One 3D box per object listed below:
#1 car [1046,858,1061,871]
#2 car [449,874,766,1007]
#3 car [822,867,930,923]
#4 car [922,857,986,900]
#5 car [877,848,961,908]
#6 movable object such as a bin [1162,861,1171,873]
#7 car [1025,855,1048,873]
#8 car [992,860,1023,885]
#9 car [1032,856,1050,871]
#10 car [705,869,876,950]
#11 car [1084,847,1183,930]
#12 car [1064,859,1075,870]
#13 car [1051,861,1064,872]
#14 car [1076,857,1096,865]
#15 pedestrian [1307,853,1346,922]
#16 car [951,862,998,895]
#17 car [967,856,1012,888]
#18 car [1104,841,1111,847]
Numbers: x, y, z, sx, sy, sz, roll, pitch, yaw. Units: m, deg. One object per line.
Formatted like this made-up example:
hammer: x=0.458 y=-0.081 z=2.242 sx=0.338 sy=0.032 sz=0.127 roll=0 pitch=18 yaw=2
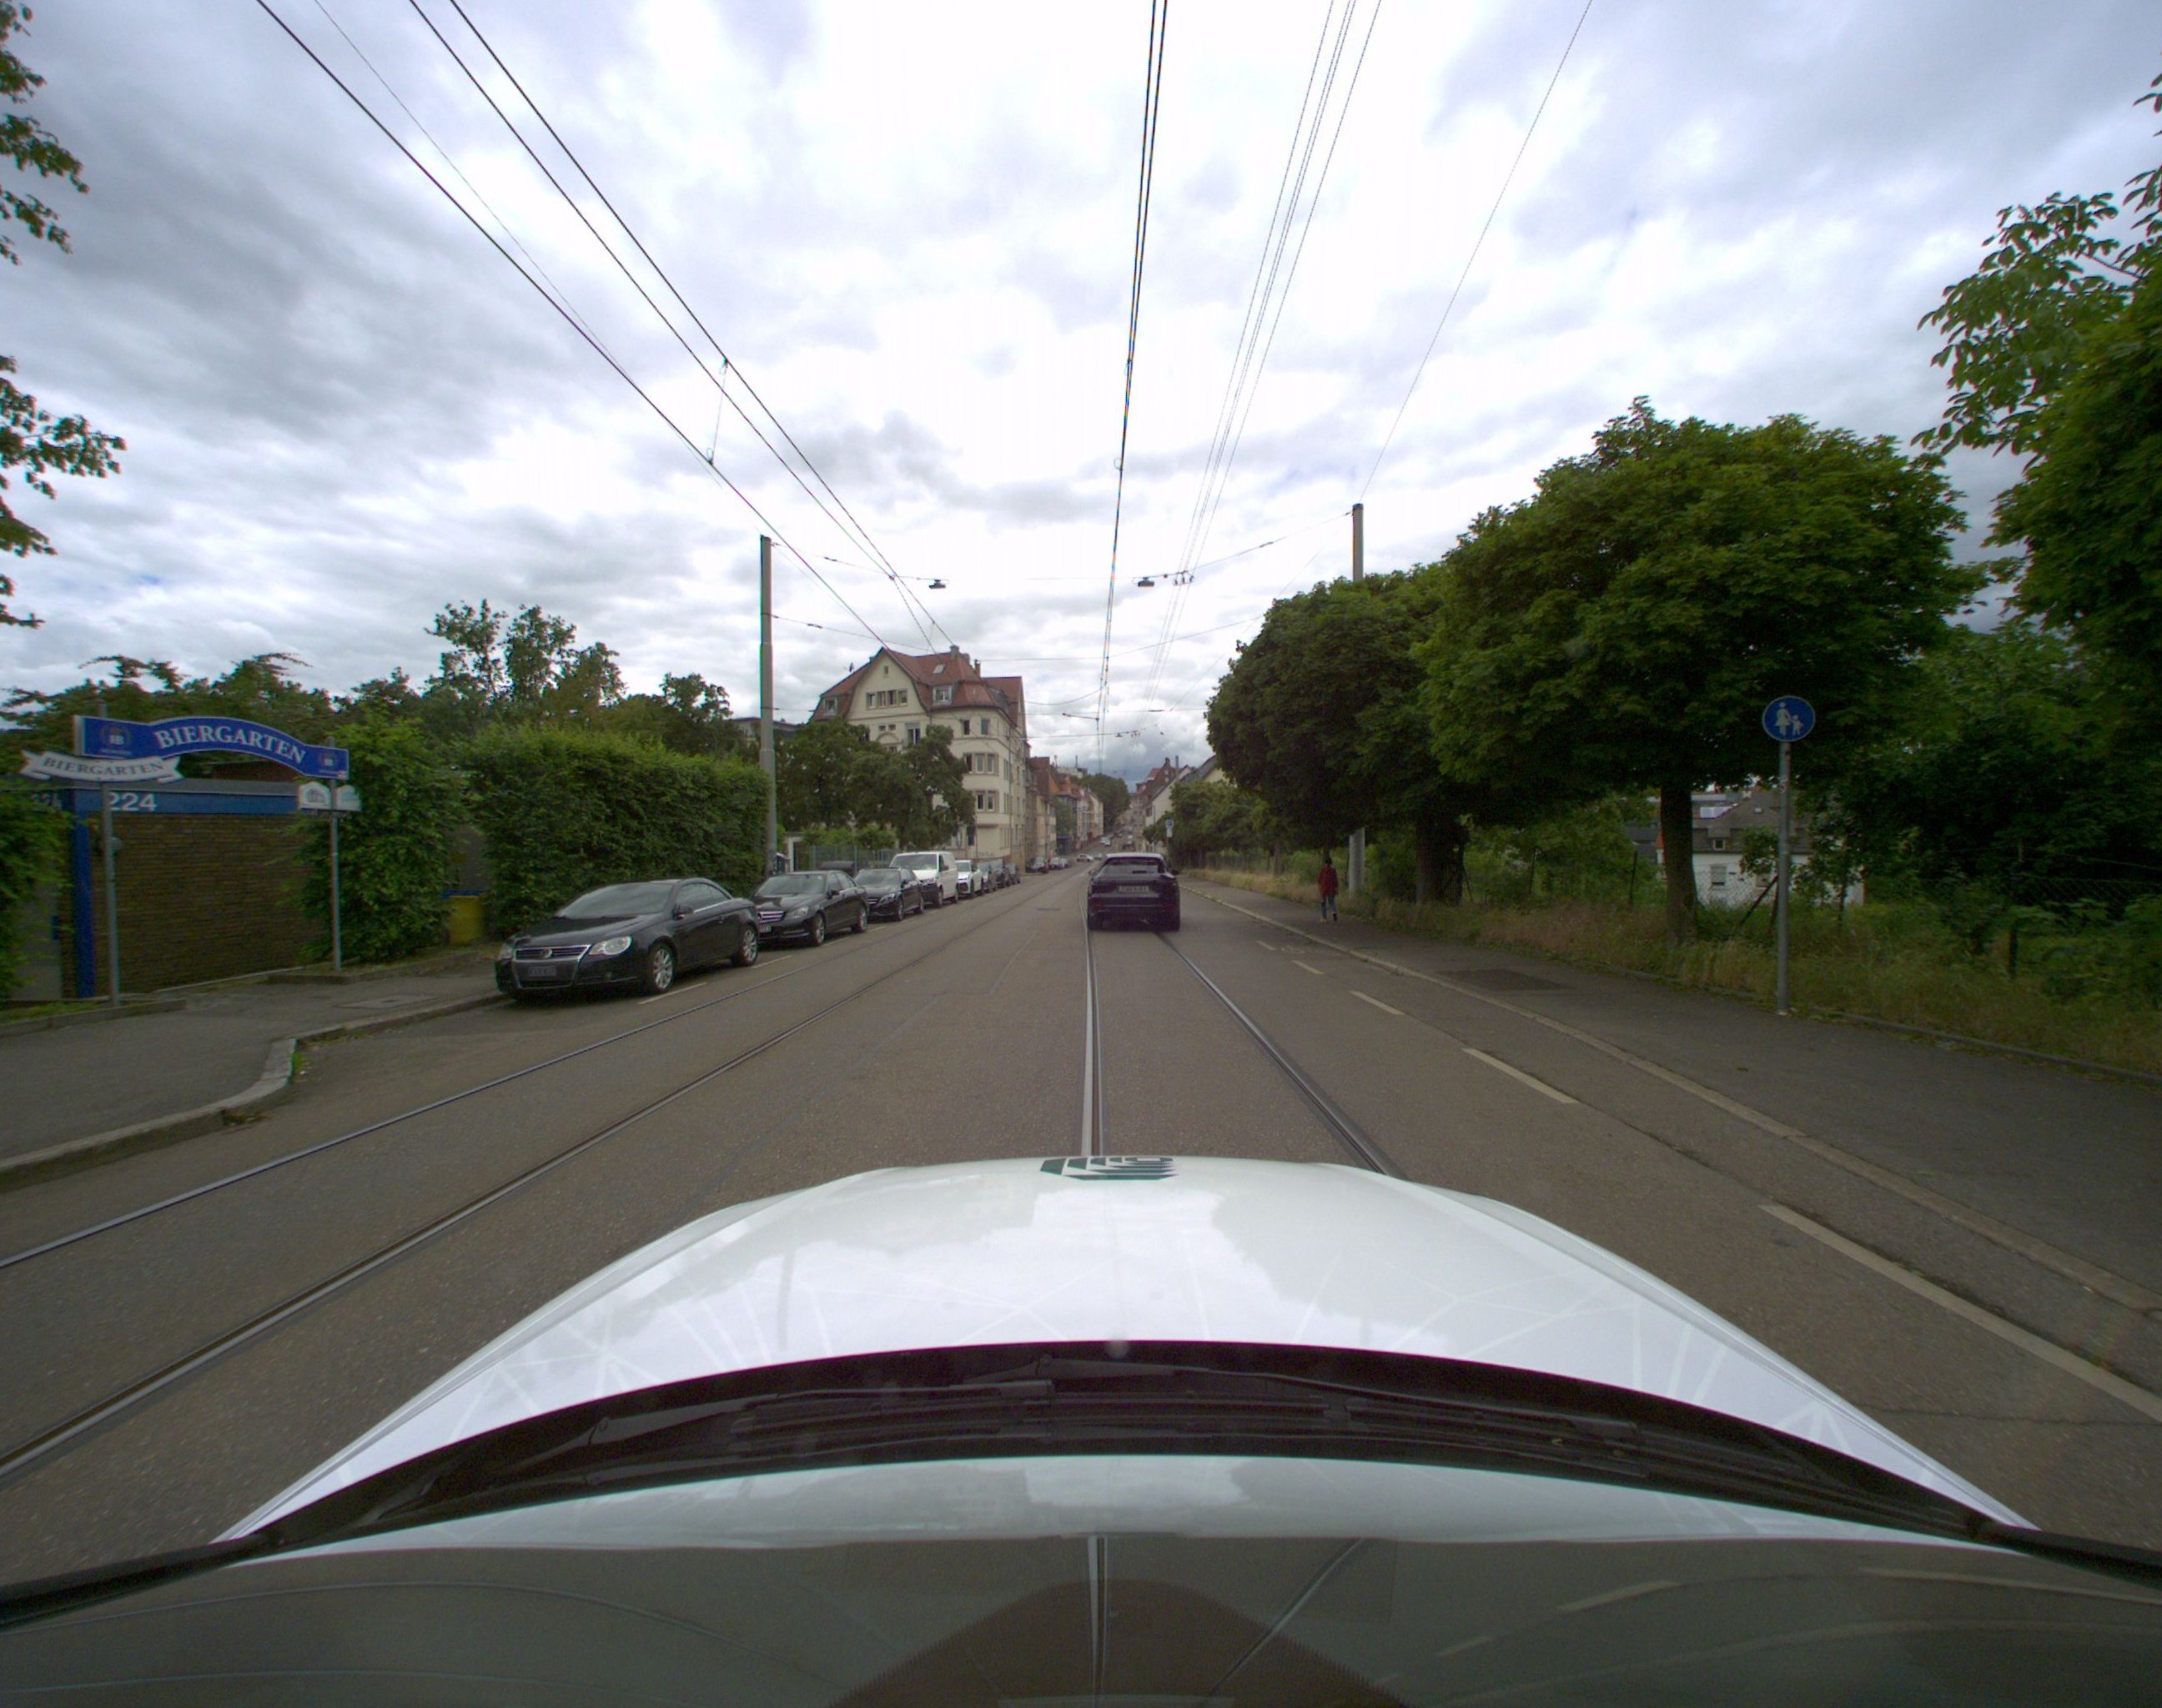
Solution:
car: x=-3.433 y=1.341 z=102.457 sx=1.615 sy=1.463 sz=4.032 roll=-1 pitch=-1 yaw=0
car: x=-5.971 y=0.990 z=10.957 sx=1.784 sy=1.404 sz=4.161 roll=-1 pitch=-1 yaw=0
car: x=-5.667 y=1.105 z=23.084 sx=1.834 sy=1.387 sz=4.517 roll=-1 pitch=-1 yaw=0
car: x=-5.347 y=1.042 z=34.874 sx=1.962 sy=1.687 sz=4.633 roll=-1 pitch=-1 yaw=0
car: x=-5.624 y=0.820 z=28.886 sx=1.962 sy=1.913 sz=4.734 roll=-1 pitch=-1 yaw=0
movable object such as a bin: x=8.985 y=1.360 z=85.762 sx=0.790 sy=1.218 sz=0.788 roll=0 pitch=-1 yaw=-2
car: x=-4.242 y=0.962 z=77.713 sx=1.861 sy=1.646 sz=4.402 roll=-1 pitch=-1 yaw=0
car: x=-4.739 y=1.204 z=53.030 sx=1.615 sy=1.477 sz=4.156 roll=-1 pitch=-1 yaw=0
car: x=-4.084 y=1.018 z=83.810 sx=1.615 sy=1.463 sz=3.745 roll=-1 pitch=-1 yaw=0
car: x=-5.706 y=1.035 z=16.639 sx=1.834 sy=1.387 sz=4.440 roll=-1 pitch=-1 yaw=0
car: x=1.115 y=0.721 z=18.451 sx=1.986 sy=1.676 sz=4.001 roll=0 pitch=-1 yaw=1
car: x=-1.712 y=1.566 z=121.839 sx=1.615 sy=1.474 sz=4.555 roll=-1 pitch=-1 yaw=1
car: x=-3.226 y=1.690 z=113.420 sx=1.615 sy=1.463 sz=3.684 roll=-1 pitch=-1 yaw=0
car: x=1.022 y=1.464 z=167.851 sx=3.790 sy=1.769 sz=2.011 roll=-1 pitch=-1 yaw=25
pedestrian: x=5.887 y=0.786 z=19.572 sx=0.712 sy=1.621 sz=0.719 roll=0 pitch=-1 yaw=2
car: x=-5.192 y=1.208 z=40.210 sx=1.732 sy=1.509 sz=3.869 roll=-1 pitch=-1 yaw=0
car: x=-5.171 y=1.035 z=46.406 sx=1.962 sy=1.687 sz=4.444 roll=-1 pitch=-1 yaw=0
car: x=7.864 y=-2.955 z=241.816 sx=1.744 sy=1.760 sz=4.256 roll=0 pitch=-1 yaw=3
